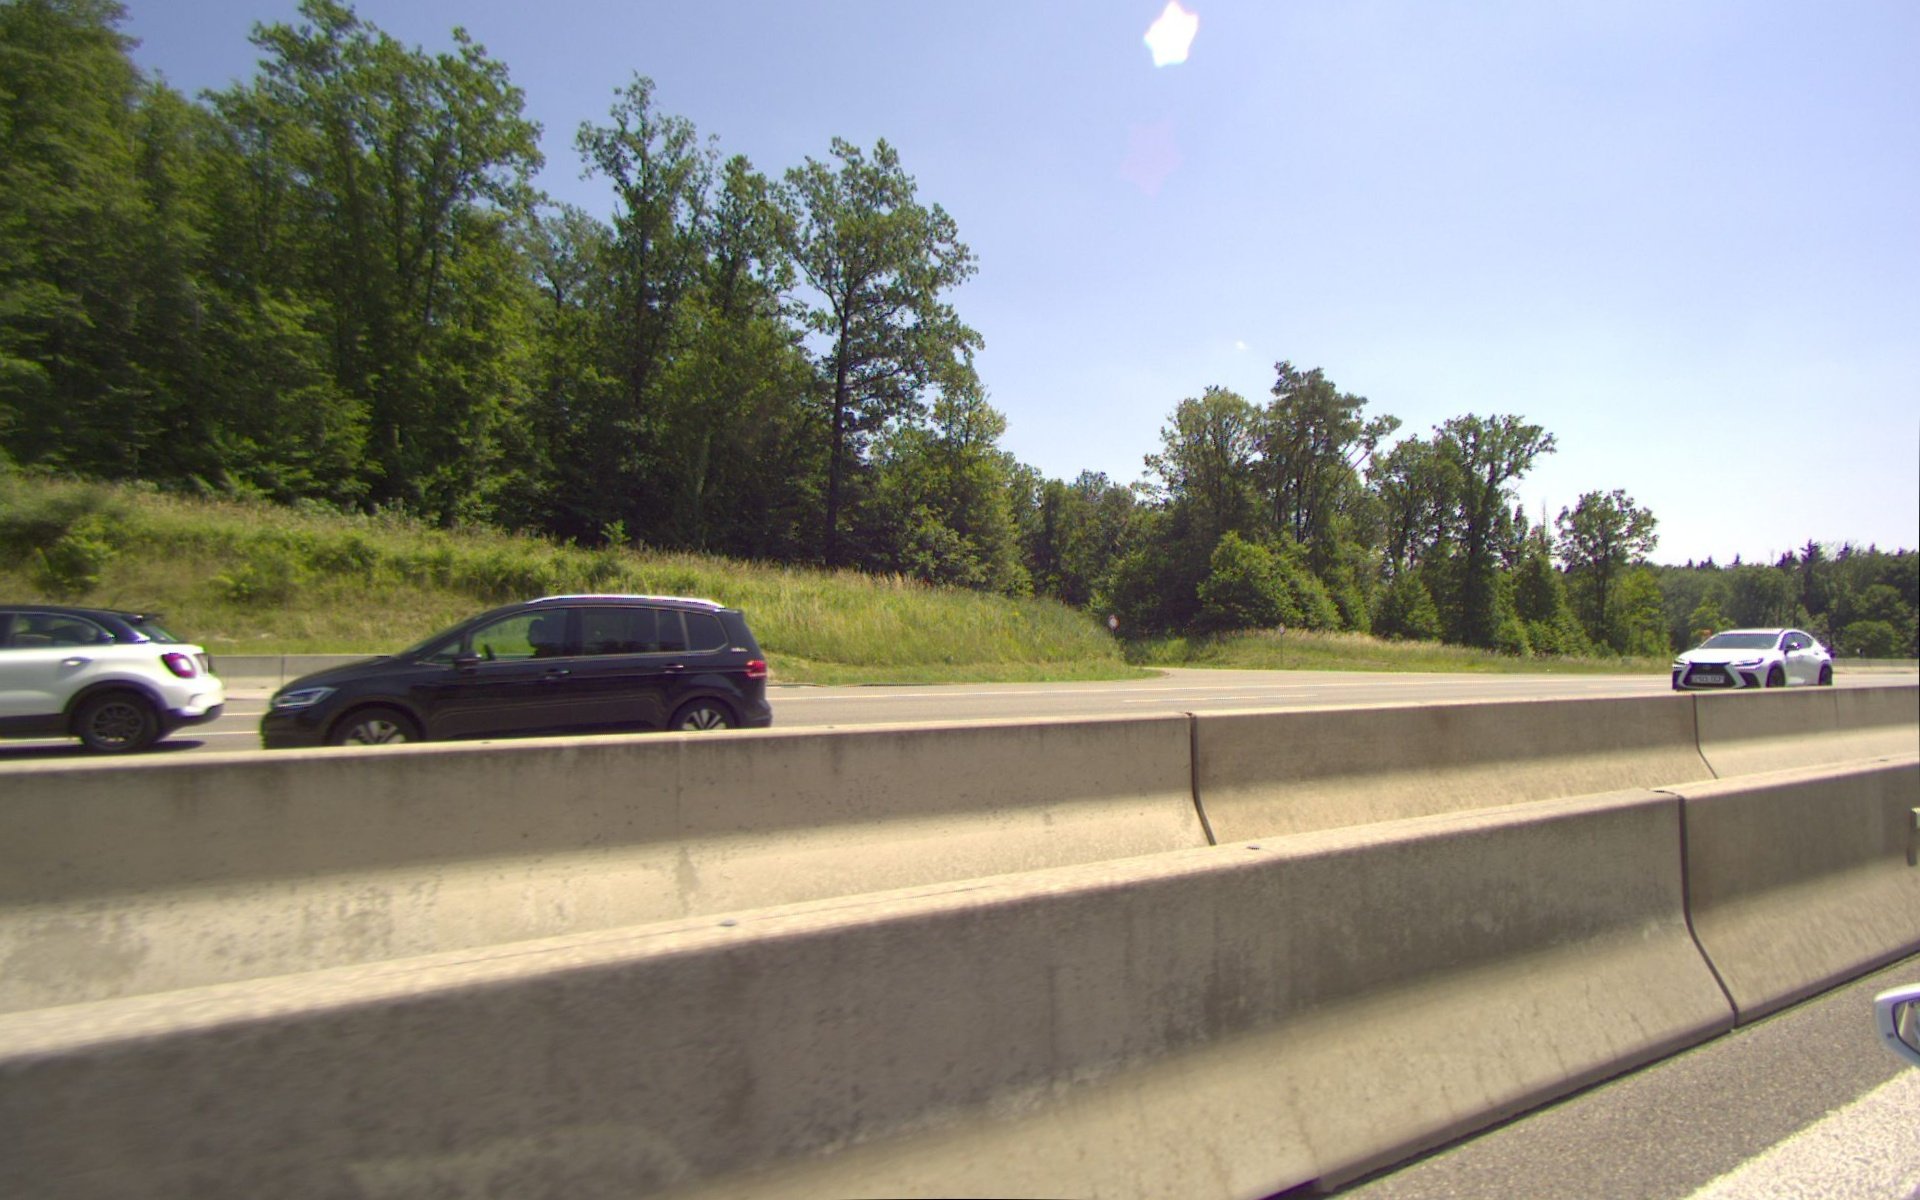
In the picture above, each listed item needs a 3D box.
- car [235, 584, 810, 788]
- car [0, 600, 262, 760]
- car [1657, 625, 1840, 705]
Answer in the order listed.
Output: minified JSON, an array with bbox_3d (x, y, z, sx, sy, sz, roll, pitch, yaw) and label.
[{"bbox_3d":[-3.971,0.726,9.677,4.673,1.569,1.793,2,-1,-30],"label":"car"},{"bbox_3d":[-10.158,0.825,10.621,4.370,1.582,1.736,2,-3,-30],"label":"car"},{"bbox_3d":[18.460,1.455,23.462,4.676,1.684,1.886,2,-1,-32],"label":"car"}]
